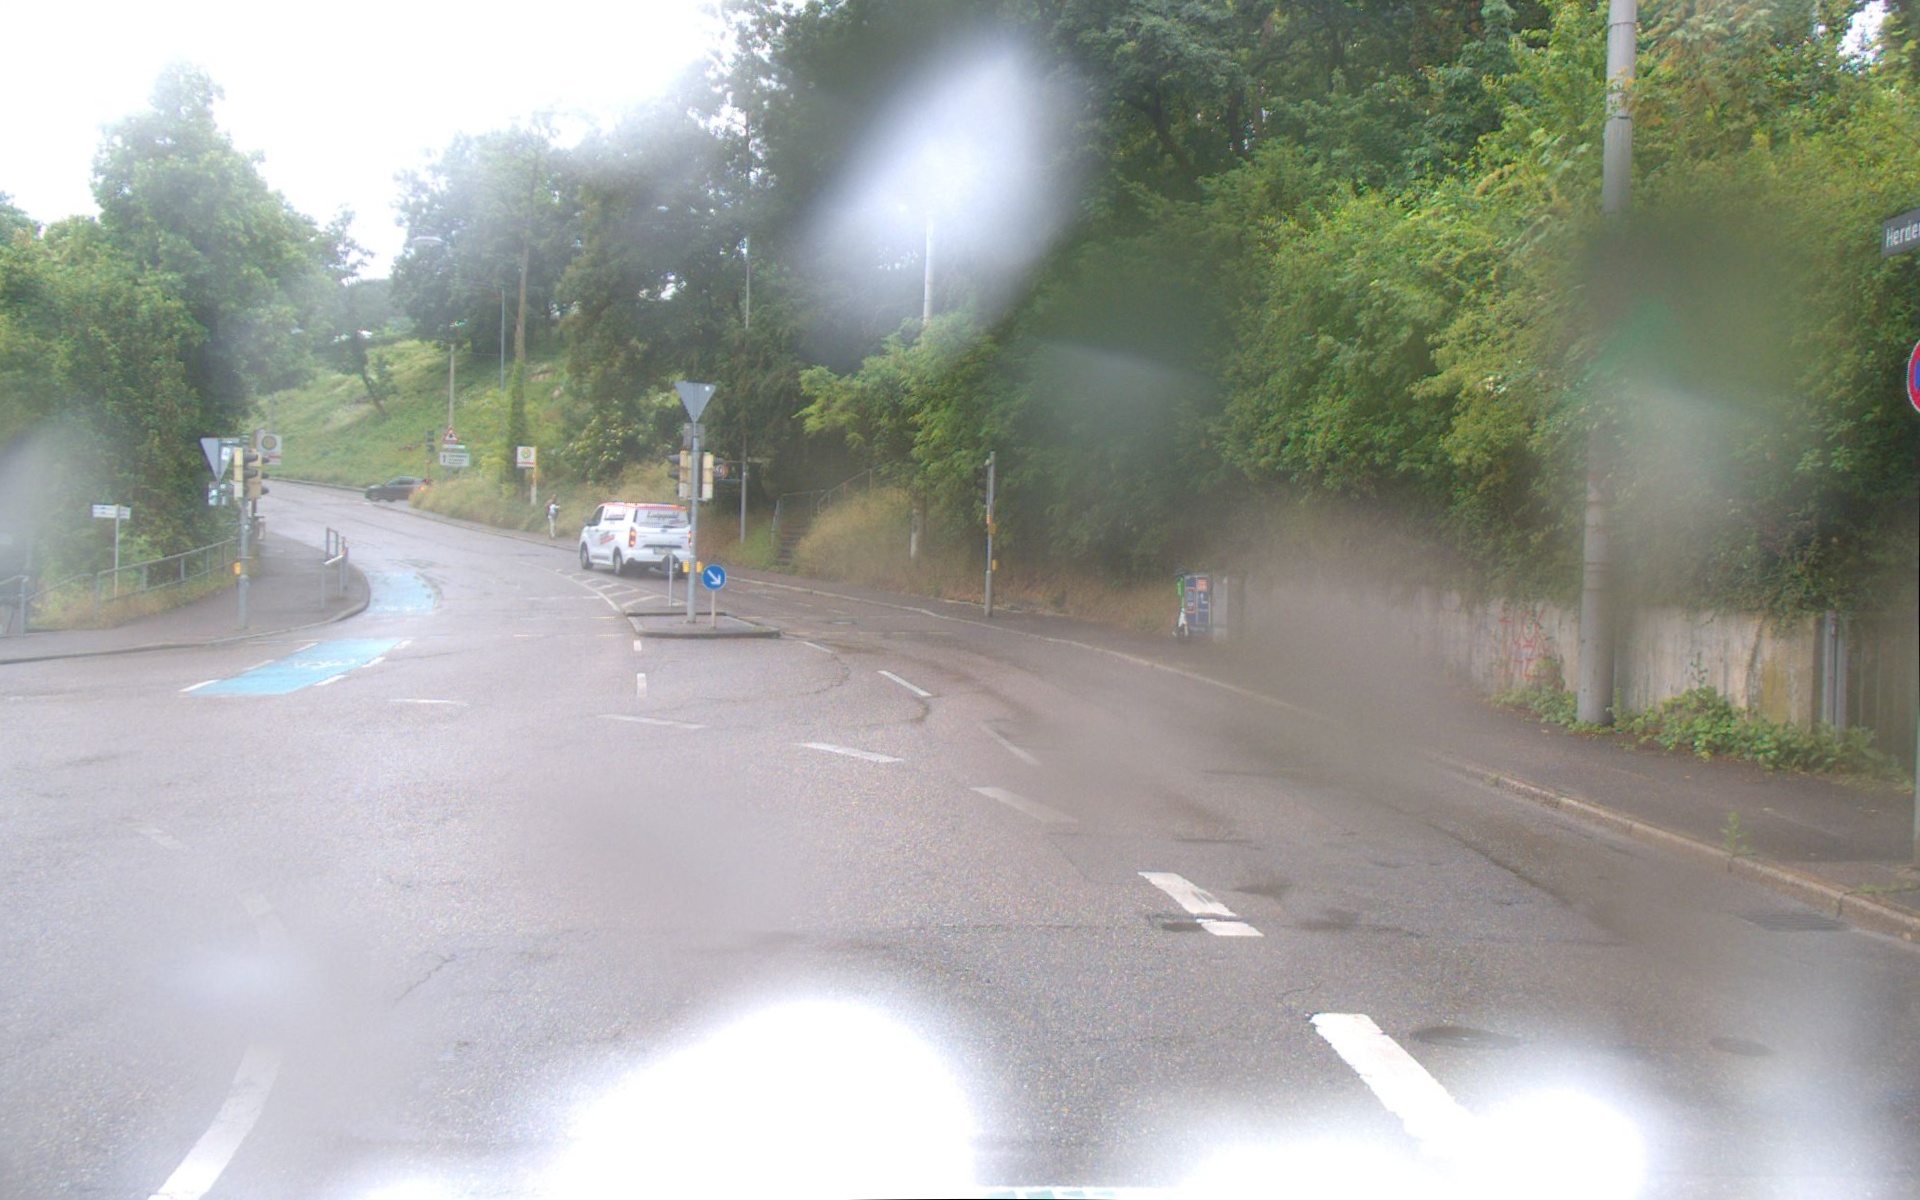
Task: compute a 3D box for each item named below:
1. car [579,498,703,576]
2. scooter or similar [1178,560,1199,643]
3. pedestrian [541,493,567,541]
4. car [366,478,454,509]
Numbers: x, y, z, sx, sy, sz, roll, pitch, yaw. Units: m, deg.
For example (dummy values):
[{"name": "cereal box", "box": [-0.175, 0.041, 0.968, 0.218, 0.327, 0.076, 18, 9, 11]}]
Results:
[{"name": "car", "box": [-8.982, -1.732, 46.200, 2.043, 2.041, 4.769, 0, 1, -29]}, {"name": "scooter or similar", "box": [3.687, 0.022, 26.748, 0.315, 1.302, 0.752, 0, 3, 7]}, {"name": "pedestrian", "box": [-15.462, -3.148, 62.995, 0.867, 1.767, 0.861, 1, -1, -18]}, {"name": "car", "box": [-31.024, -6.016, 93.378, 4.296, 1.538, 1.965, 3, 3, 13]}]
